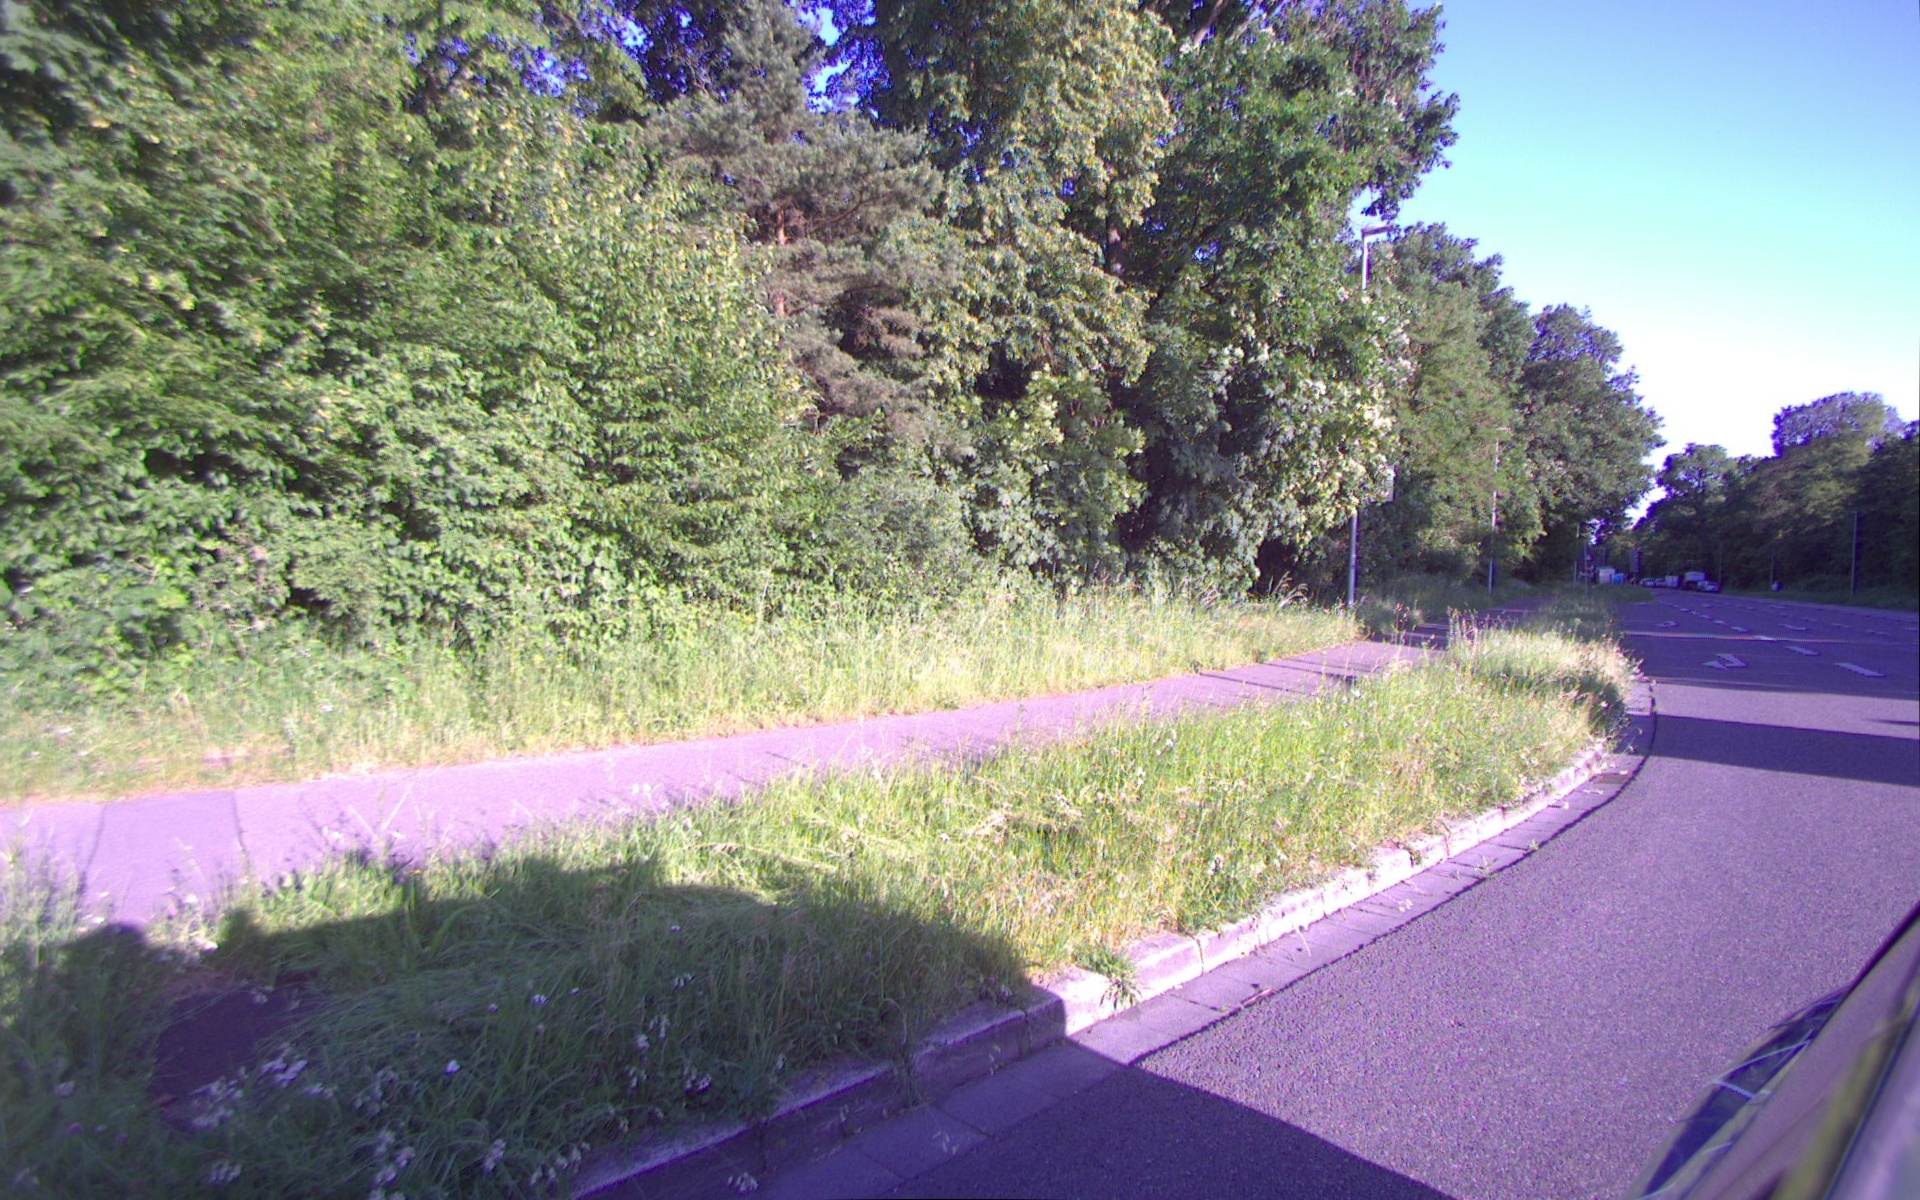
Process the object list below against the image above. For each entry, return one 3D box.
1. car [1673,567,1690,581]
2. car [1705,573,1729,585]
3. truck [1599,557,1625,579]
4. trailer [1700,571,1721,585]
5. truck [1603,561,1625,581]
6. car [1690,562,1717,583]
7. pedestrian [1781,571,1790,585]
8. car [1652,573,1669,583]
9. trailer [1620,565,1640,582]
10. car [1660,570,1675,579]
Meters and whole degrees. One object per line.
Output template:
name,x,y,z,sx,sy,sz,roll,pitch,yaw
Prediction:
car,125.095,-4.519,175.525,1.678,2.126,4.586,4,4,29
car,100.094,-2.809,133.862,1.900,1.481,3.972,4,4,29
truck,102.247,-5.101,158.761,2.685,3.276,7.057,4,4,29
trailer,102.495,-3.077,138.207,1.792,1.750,3.611,4,4,29
truck,97.439,-4.345,150.728,2.370,2.907,5.542,0,2,29
car,109.008,-4.058,148.488,2.441,2.881,4.751,4,4,29
pedestrian,96.726,-2.539,118.594,0.709,1.584,0.816,4,3,33
car,115.782,-3.685,167.270,1.818,1.473,4.437,3,3,28
trailer,89.429,-3.525,135.152,1.854,2.204,4.088,1,2,29
car,130.583,-4.676,186.717,1.792,1.523,3.873,4,4,29
